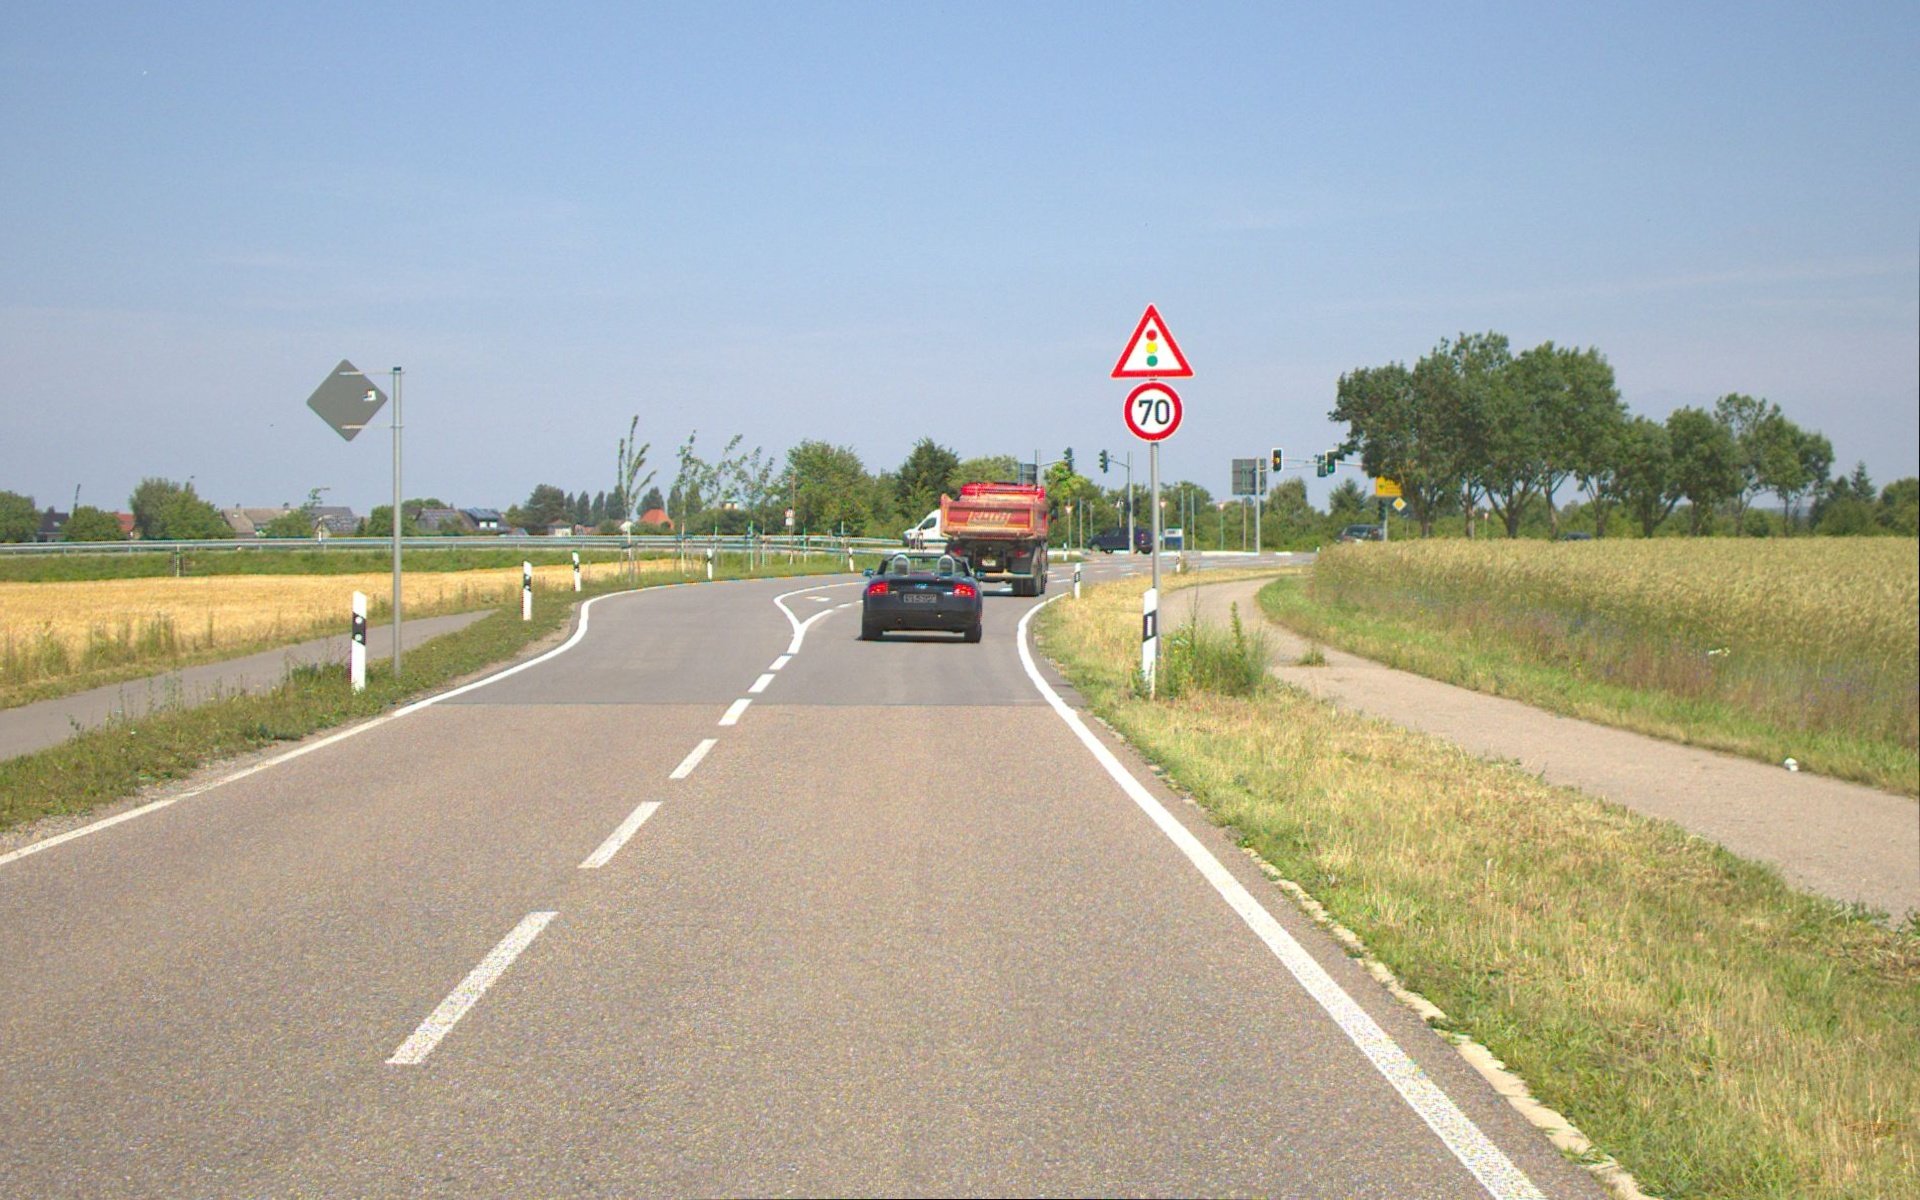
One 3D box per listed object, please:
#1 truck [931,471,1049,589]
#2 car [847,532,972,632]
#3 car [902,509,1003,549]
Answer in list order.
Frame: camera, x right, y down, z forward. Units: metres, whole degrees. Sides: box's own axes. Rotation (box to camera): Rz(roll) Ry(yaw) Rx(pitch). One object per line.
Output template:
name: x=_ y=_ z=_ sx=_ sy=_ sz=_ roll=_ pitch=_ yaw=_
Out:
truck: x=0.881 y=-1.857 z=93.717 sx=2.714 sy=3.042 sz=8.163 roll=1 pitch=0 yaw=4
car: x=-0.751 y=-0.269 z=51.043 sx=1.747 sy=1.371 sz=3.679 roll=2 pitch=0 yaw=-1
car: x=-0.459 y=-4.421 z=212.992 sx=5.920 sy=2.413 sz=2.247 roll=1 pitch=2 yaw=11
